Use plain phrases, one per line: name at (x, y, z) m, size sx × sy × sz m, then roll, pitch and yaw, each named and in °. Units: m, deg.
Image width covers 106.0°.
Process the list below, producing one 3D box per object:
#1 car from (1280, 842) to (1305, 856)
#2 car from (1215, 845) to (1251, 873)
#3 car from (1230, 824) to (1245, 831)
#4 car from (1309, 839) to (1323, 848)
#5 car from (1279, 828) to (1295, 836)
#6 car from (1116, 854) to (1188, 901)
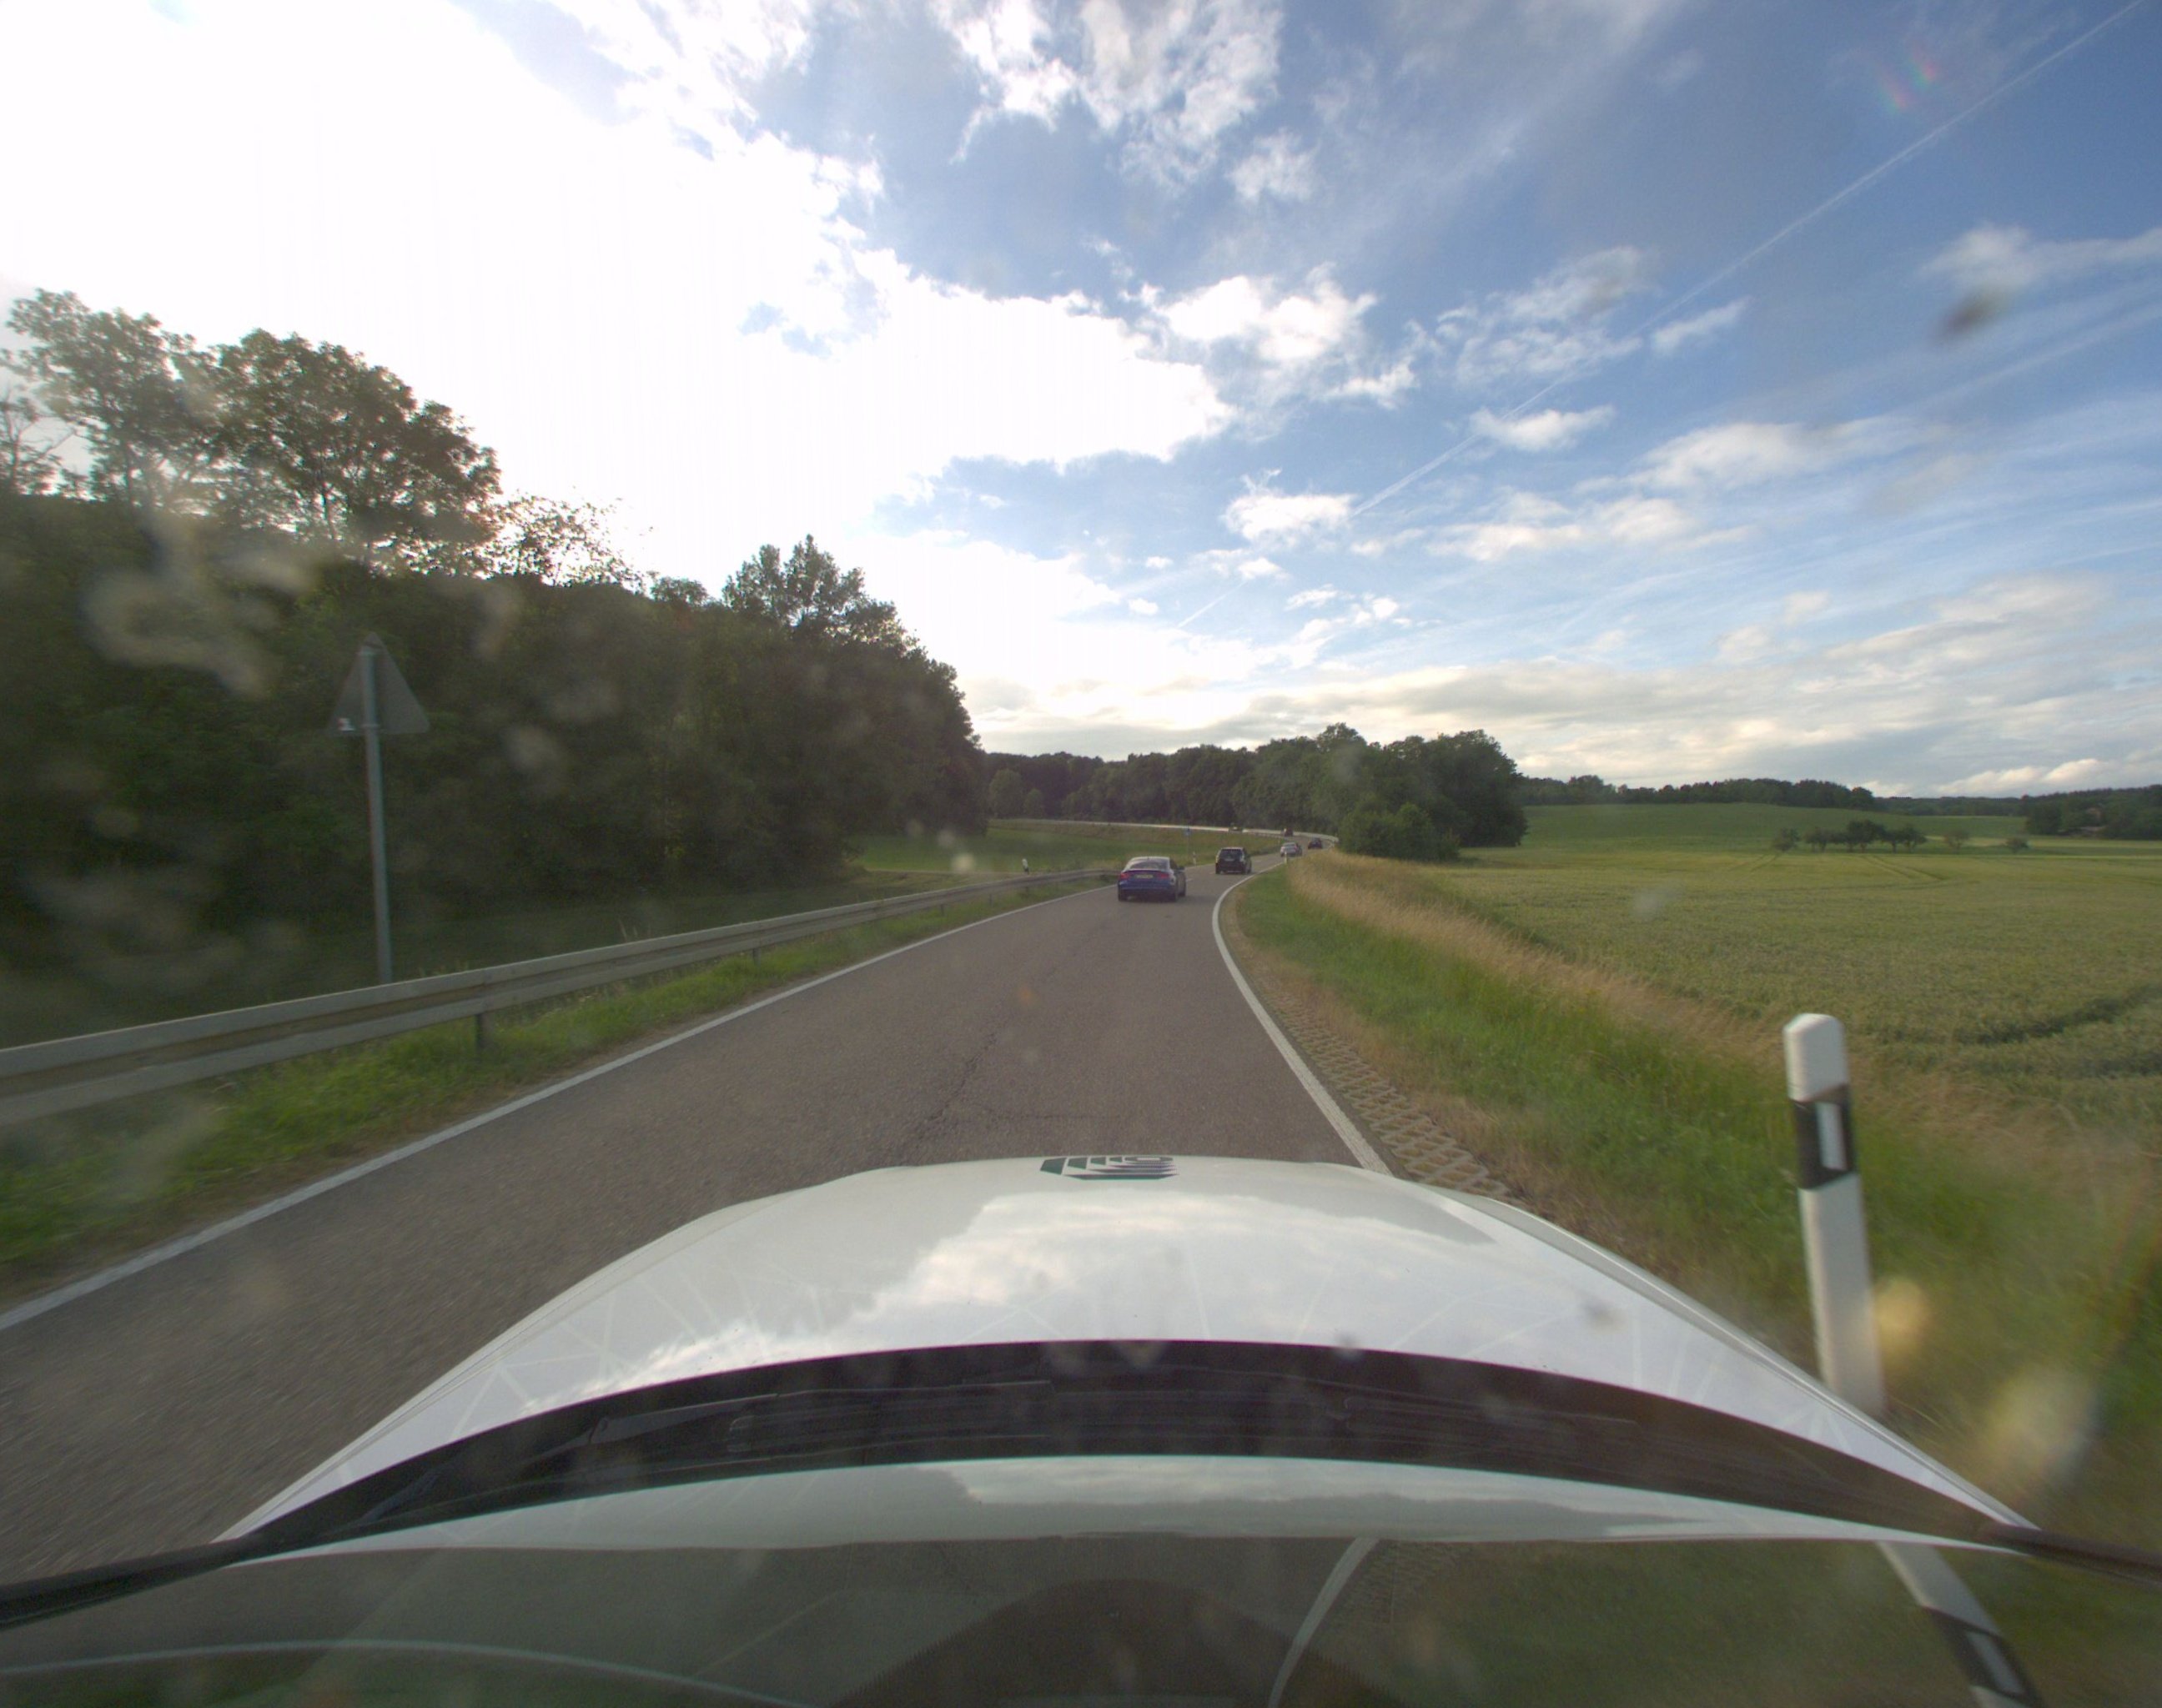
car at (22.140, -0.535, 85.338) m, size 1.666 × 1.376 × 4.024 m, roll -2°, pitch 1°, yaw 27°
car at (9.331, 0.273, 49.814) m, size 1.848 × 1.569 × 4.015 m, roll -2°, pitch 0°, yaw 14°
car at (39.926, -6.701, 208.219) m, size 2.002 × 1.771 × 3.970 m, roll -1°, pitch 2°, yaw -23°
car at (31.906, -1.436, 110.539) m, size 1.458 × 1.227 × 3.317 m, roll -2°, pitch 0°, yaw 21°
car at (44.554, -4.852, 176.449) m, size 1.993 × 1.678 × 4.166 m, roll -1°, pitch 2°, yaw -9°
car at (2.376, 0.705, 26.310) m, size 1.806 × 1.339 × 4.364 m, roll 1°, pitch 0°, yaw 12°
